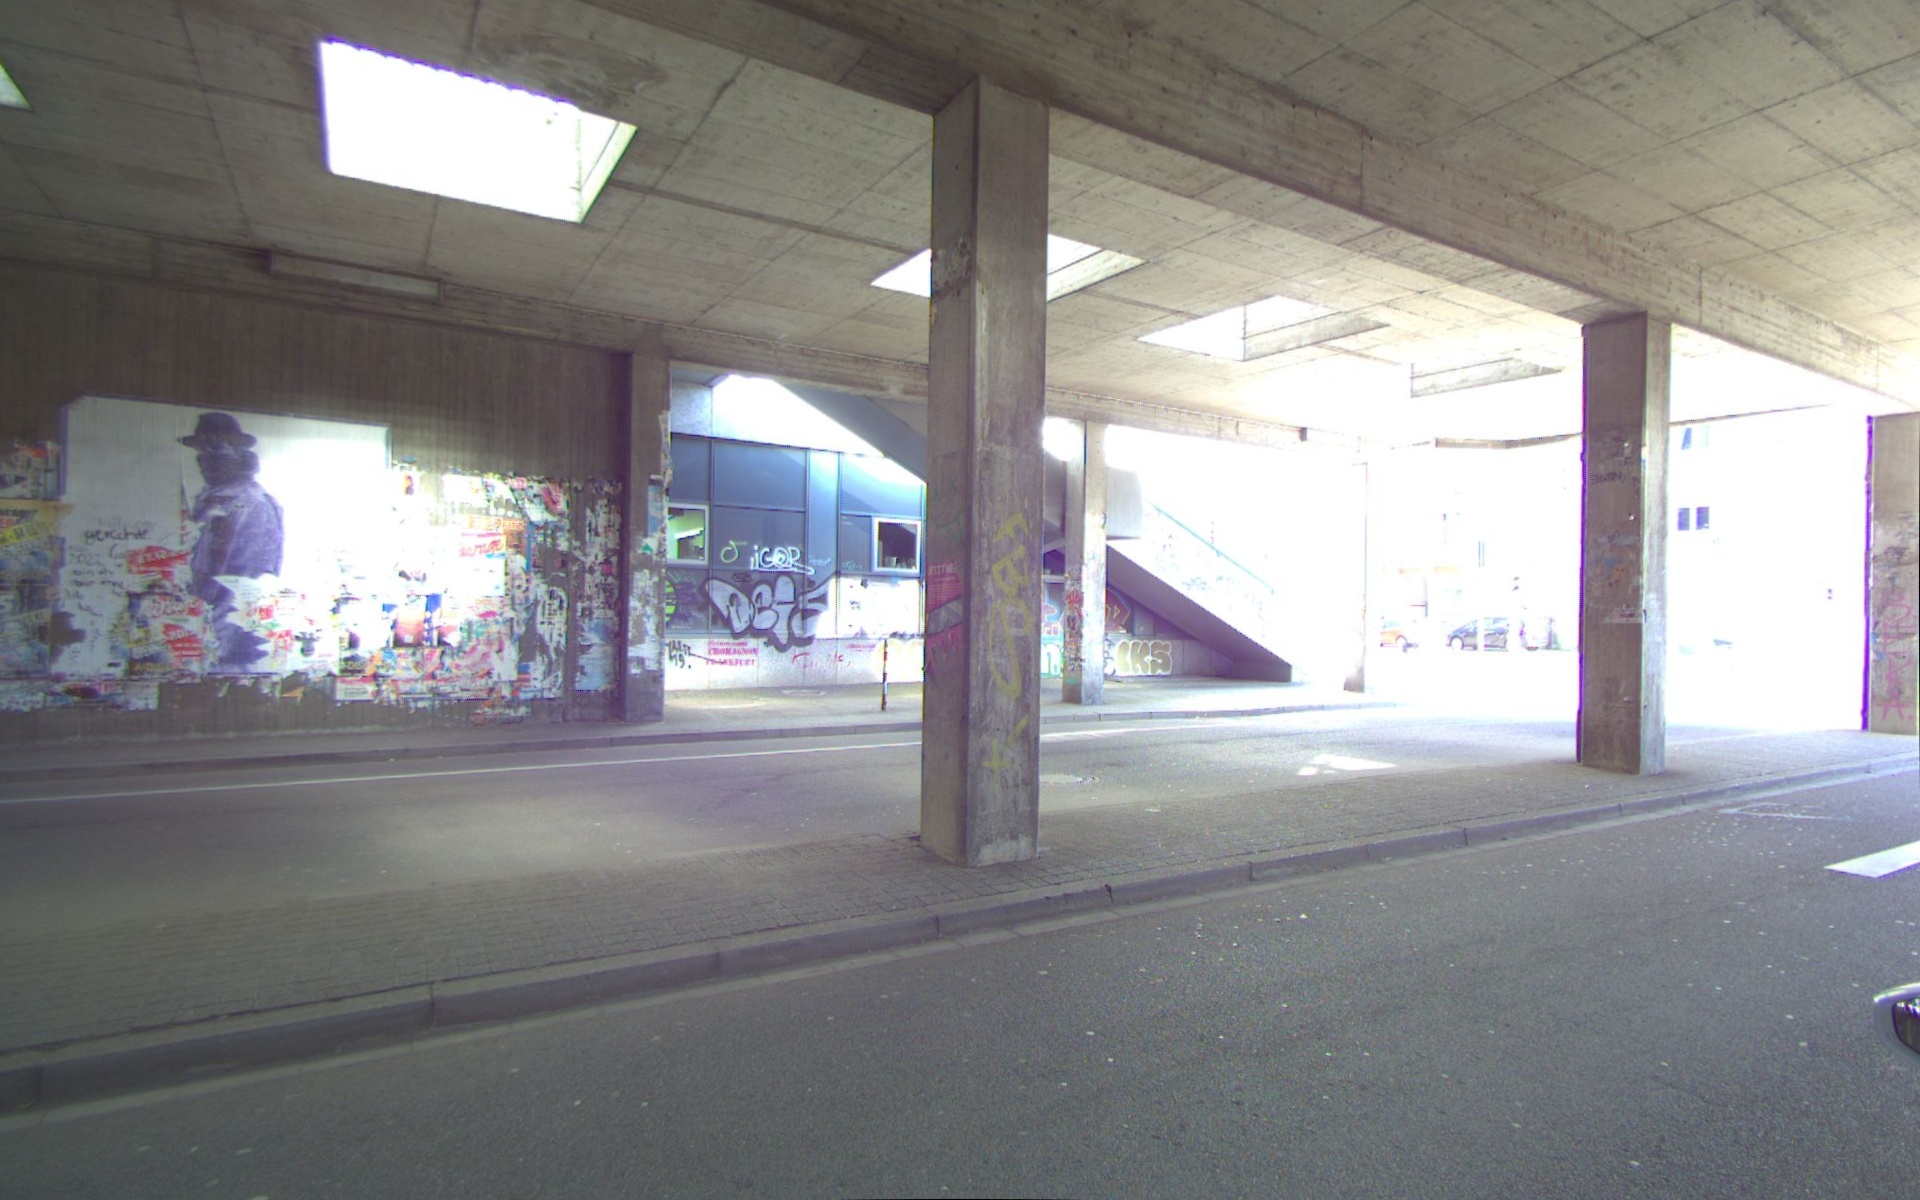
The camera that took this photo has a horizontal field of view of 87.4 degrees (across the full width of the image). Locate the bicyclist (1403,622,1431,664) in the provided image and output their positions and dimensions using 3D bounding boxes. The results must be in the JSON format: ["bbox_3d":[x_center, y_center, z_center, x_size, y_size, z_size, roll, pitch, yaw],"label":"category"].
[{"bbox_3d":[15.506,1.446,34.095,0.446,1.394,0.743,2,0,-27],"label":"bicyclist"}]

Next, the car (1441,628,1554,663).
[{"bbox_3d":[25.447,2.118,47.679,1.905,1.428,4.382,2,0,-32],"label":"car"}]

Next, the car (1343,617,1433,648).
[{"bbox_3d":[22.463,1.695,52.832,1.905,1.428,3.965,2,0,-32],"label":"car"}]

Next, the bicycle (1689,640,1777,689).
[{"bbox_3d":[19.772,1.623,25.722,0.470,1.133,1.734,2,0,-26],"label":"bicycle"}]
